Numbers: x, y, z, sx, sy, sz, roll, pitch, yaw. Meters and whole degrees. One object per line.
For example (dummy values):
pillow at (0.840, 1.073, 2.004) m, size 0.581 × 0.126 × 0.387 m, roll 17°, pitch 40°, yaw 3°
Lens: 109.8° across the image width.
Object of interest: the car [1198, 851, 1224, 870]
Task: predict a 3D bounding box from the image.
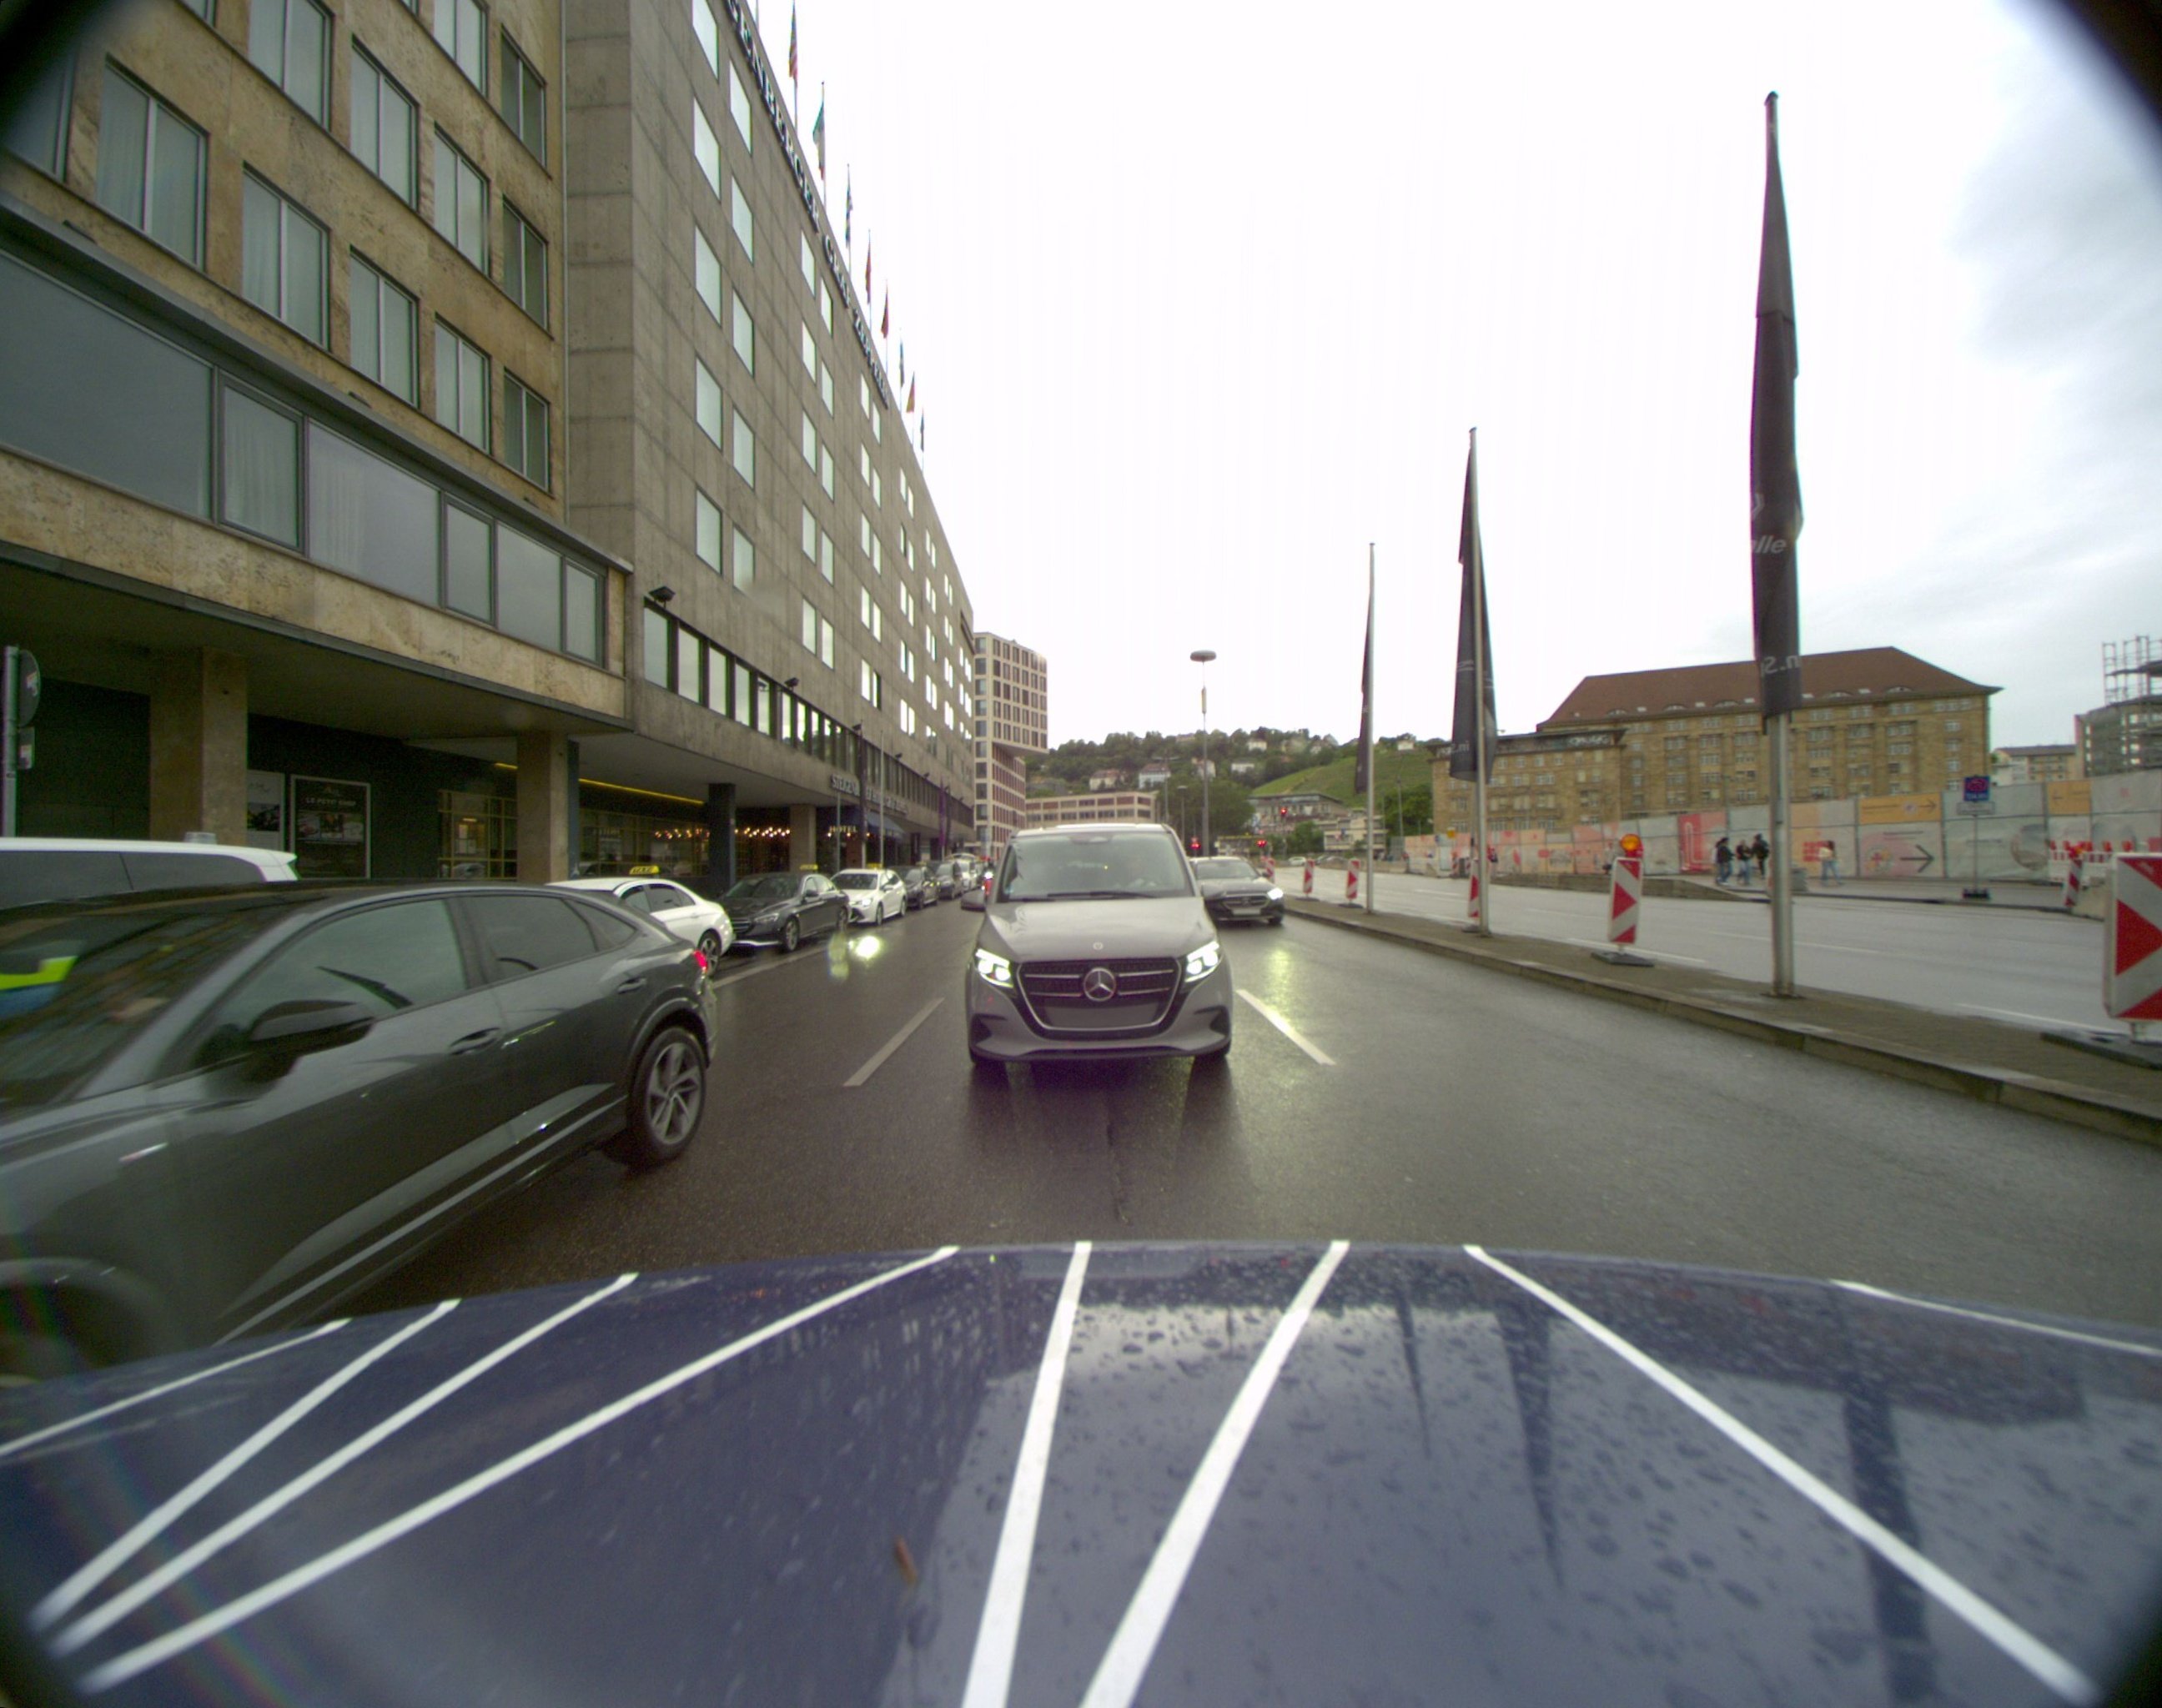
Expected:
car at (12.424, 0.612, 72.678) m, size 1.785 × 1.684 × 3.916 m, roll -1°, pitch 0°, yaw 0°

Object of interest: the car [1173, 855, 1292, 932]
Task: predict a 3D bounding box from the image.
car at (3.364, 0.807, 17.775) m, size 1.860 × 1.461 × 4.586 m, roll -2°, pitch 1°, yaw 1°

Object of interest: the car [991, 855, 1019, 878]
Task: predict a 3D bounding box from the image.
car at (-5.904, 0.966, 59.215) m, size 1.731 × 1.604 × 4.001 m, roll -2°, pitch 1°, yaw 0°

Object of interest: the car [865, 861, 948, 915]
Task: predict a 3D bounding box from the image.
car at (-6.044, 1.124, 26.840) m, size 1.731 × 1.583 × 4.814 m, roll -2°, pitch 1°, yaw 0°

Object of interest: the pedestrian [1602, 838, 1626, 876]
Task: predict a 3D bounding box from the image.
pedestrian at (26.219, 0.136, 37.371) m, size 0.664 × 1.825 × 0.720 m, roll -2°, pitch 1°, yaw 1°

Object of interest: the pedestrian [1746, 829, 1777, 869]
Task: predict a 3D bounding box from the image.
pedestrian at (27.725, -0.202, 30.963) m, size 0.715 × 1.606 × 0.544 m, roll -2°, pitch 1°, yaw 1°

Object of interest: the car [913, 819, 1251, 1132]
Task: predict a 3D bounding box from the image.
car at (0.047, 0.729, 7.239) m, size 1.998 × 1.849 × 5.160 m, roll -2°, pitch 1°, yaw 1°

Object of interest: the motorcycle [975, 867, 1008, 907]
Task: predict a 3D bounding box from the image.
motorcycle at (-3.126, 1.139, 26.761) m, size 0.848 × 1.299 × 1.965 m, roll -2°, pitch 1°, yaw 1°

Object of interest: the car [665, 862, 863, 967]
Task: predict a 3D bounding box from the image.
car at (-6.075, 1.054, 15.298) m, size 1.879 × 1.628 × 4.814 m, roll -2°, pitch 1°, yaw 0°

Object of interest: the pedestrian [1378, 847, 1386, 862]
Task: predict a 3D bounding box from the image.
pedestrian at (33.553, 0.040, 84.650) m, size 0.715 × 1.606 × 0.544 m, roll -2°, pitch 1°, yaw 10°

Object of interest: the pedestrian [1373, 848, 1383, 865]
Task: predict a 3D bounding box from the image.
pedestrian at (29.473, 0.250, 75.384) m, size 0.715 × 1.606 × 0.544 m, roll -2°, pitch 1°, yaw 1°

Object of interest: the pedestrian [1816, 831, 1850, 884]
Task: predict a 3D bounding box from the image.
pedestrian at (26.302, 0.110, 26.588) m, size 0.661 × 1.825 × 0.556 m, roll -2°, pitch 1°, yaw 21°

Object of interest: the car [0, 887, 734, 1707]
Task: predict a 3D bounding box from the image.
car at (-3.116, 1.000, 2.439) m, size 1.883 × 1.493 × 4.342 m, roll -2°, pitch 1°, yaw 1°

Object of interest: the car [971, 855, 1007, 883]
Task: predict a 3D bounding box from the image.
car at (-5.873, 0.916, 48.895) m, size 1.731 × 1.604 × 4.001 m, roll -2°, pitch 1°, yaw 0°

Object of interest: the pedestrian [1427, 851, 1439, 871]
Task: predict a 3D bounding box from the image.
pedestrian at (28.660, 0.550, 61.843) m, size 0.715 × 1.606 × 0.544 m, roll -2°, pitch 1°, yaw 1°

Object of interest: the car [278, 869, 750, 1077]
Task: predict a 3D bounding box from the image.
car at (-6.092, 1.104, 9.214) m, size 1.879 × 1.628 × 5.010 m, roll -2°, pitch 1°, yaw 0°

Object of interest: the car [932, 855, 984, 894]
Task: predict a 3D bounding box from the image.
car at (-6.090, 0.960, 38.208) m, size 1.731 × 1.732 × 4.814 m, roll -2°, pitch 1°, yaw 0°

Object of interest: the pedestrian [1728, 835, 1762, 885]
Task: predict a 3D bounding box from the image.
pedestrian at (24.962, 0.215, 28.584) m, size 0.714 × 1.825 × 0.718 m, roll -2°, pitch 1°, yaw 19°

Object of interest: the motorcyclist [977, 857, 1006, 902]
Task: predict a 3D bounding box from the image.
motorcyclist at (-3.151, 0.879, 26.771) m, size 0.861 × 1.519 × 0.844 m, roll -2°, pitch 1°, yaw 1°

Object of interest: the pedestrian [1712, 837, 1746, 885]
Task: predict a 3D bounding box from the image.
pedestrian at (23.725, 0.261, 27.816) m, size 0.714 × 1.723 × 0.718 m, roll -2°, pitch 1°, yaw 19°

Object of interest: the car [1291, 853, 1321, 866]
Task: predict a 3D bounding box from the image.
car at (34.795, 0.809, 117.433) m, size 4.194 × 1.846 × 1.832 m, roll -2°, pitch 1°, yaw 6°

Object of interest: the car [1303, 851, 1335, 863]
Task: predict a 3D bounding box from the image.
car at (32.379, 0.427, 103.418) m, size 3.993 × 1.622 × 2.002 m, roll -1°, pitch 0°, yaw 14°

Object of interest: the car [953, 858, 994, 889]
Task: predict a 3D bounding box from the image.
car at (-6.125, 1.068, 43.716) m, size 1.731 × 1.604 × 4.001 m, roll -2°, pitch 1°, yaw 0°

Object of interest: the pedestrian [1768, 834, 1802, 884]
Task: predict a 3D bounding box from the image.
pedestrian at (25.338, 0.176, 27.370) m, size 0.714 × 1.734 × 0.564 m, roll -2°, pitch 1°, yaw 21°

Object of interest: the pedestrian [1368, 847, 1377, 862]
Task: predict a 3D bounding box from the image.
pedestrian at (31.030, 0.067, 80.911) m, size 0.715 × 1.606 × 0.544 m, roll -2°, pitch 1°, yaw 1°

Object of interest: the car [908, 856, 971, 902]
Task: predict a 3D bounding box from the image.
car at (-6.052, 1.000, 33.012) m, size 1.731 × 1.732 × 4.814 m, roll -2°, pitch 1°, yaw 0°

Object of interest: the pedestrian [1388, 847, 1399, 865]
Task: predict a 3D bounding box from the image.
pedestrian at (28.358, 0.206, 68.930) m, size 0.715 × 1.606 × 0.544 m, roll -2°, pitch 1°, yaw 1°

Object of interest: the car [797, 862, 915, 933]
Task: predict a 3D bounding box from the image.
car at (-6.042, 1.094, 21.026) m, size 1.731 × 1.583 × 4.814 m, roll -2°, pitch 1°, yaw 0°

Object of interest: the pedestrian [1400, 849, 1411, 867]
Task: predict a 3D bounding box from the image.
pedestrian at (28.669, 0.349, 67.190) m, size 0.715 × 1.606 × 0.544 m, roll -2°, pitch 1°, yaw 1°

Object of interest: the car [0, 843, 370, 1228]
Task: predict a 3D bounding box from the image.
car at (-6.322, 0.939, 3.212) m, size 1.879 × 1.909 × 4.935 m, roll -2°, pitch 1°, yaw 0°

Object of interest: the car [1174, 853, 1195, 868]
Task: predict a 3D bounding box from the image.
car at (11.815, 0.728, 87.152) m, size 1.785 × 1.684 × 3.916 m, roll -2°, pitch 1°, yaw -1°

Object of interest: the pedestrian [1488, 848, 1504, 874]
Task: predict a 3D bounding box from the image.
pedestrian at (26.602, 0.432, 48.733) m, size 0.715 × 1.606 × 0.544 m, roll -2°, pitch 1°, yaw 1°
